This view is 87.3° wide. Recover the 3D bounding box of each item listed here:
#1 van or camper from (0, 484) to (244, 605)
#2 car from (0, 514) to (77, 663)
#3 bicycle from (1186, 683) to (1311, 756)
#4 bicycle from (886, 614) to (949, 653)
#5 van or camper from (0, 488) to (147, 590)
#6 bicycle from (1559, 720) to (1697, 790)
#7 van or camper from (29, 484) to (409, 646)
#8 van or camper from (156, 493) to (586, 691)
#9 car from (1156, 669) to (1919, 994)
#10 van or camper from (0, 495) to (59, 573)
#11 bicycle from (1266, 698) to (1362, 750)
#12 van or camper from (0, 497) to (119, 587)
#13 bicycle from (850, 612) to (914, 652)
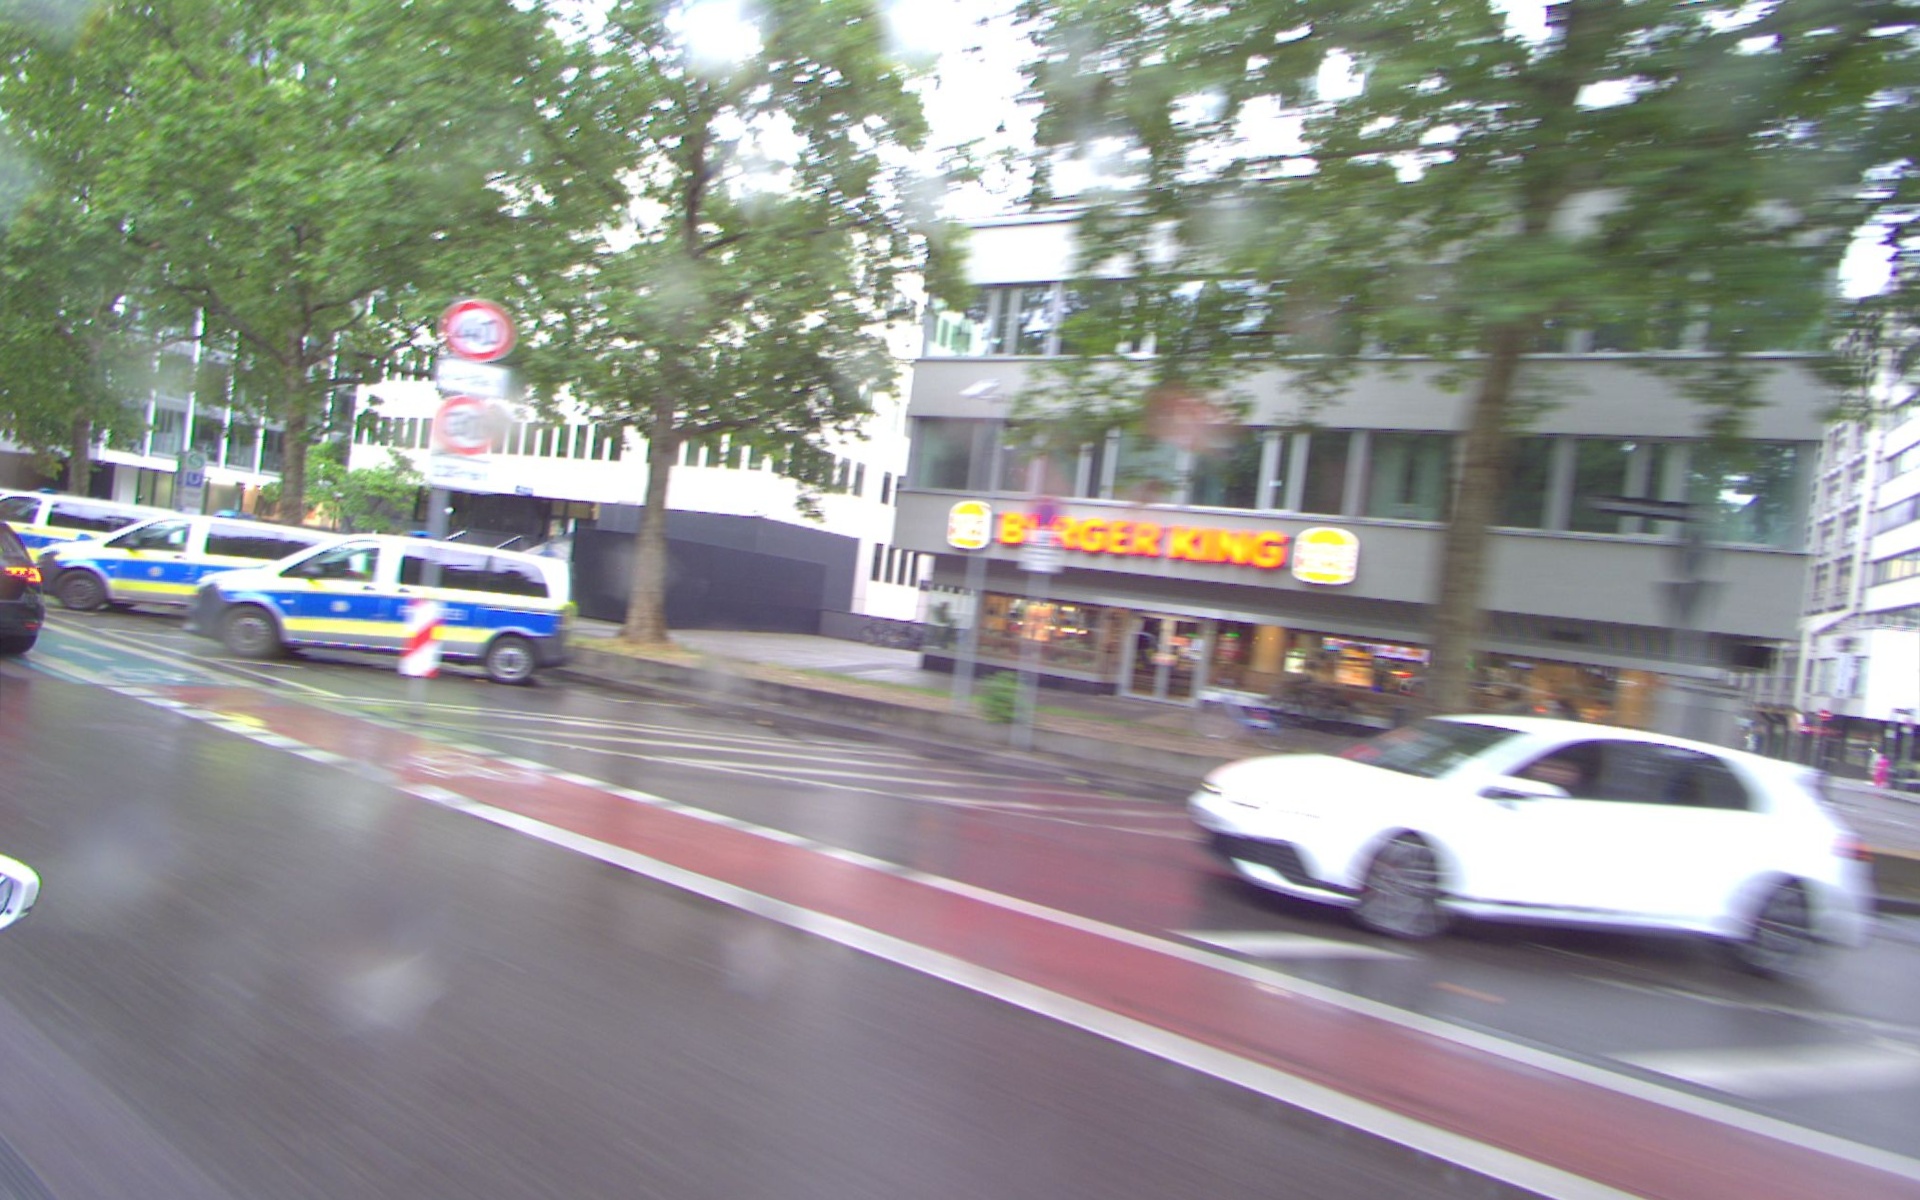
[{"bbox_3d":[-18.766,-1.206,21.825,4.790,2.021,1.859,8,-2,-22],"label":"van or camper"},{"bbox_3d":[-11.279,-0.322,10.371,3.929,1.430,1.770,6,-1,25],"label":"car"},{"bbox_3d":[4.928,2.019,17.223,1.881,0.934,0.642,6,0,29],"label":"bicycle"},{"bbox_3d":[-1.618,1.268,37.983,2.248,1.186,0.688,6,-1,29],"label":"bicycle"},{"bbox_3d":[-22.439,-1.554,23.552,4.731,2.034,1.991,8,-2,-23],"label":"van or camper"},{"bbox_3d":[12.602,2.928,19.048,2.041,0.904,0.585,8,-5,29],"label":"bicycle"},{"bbox_3d":[-13.102,-0.530,18.280,5.022,2.042,1.988,9,-2,-22],"label":"van or camper"},{"bbox_3d":[-8.094,-0.025,14.491,4.880,2.014,1.994,8,-2,-21],"label":"van or camper"},{"bbox_3d":[3.877,1.523,7.075,4.431,1.462,1.866,7,-2,-7],"label":"car"},{"bbox_3d":[-28.265,-2.094,27.331,5.038,2.049,2.097,8,-1,-21],"label":"van or camper"},{"bbox_3d":[7.691,2.677,21.871,1.878,0.829,0.643,6,-1,23],"label":"bicycle"},{"bbox_3d":[-24.921,-1.660,25.550,4.963,2.019,1.988,7,-1,-26],"label":"van or camper"},{"bbox_3d":[-2.863,1.158,36.921,2.249,1.187,0.687,6,-1,32],"label":"bicycle"}]
